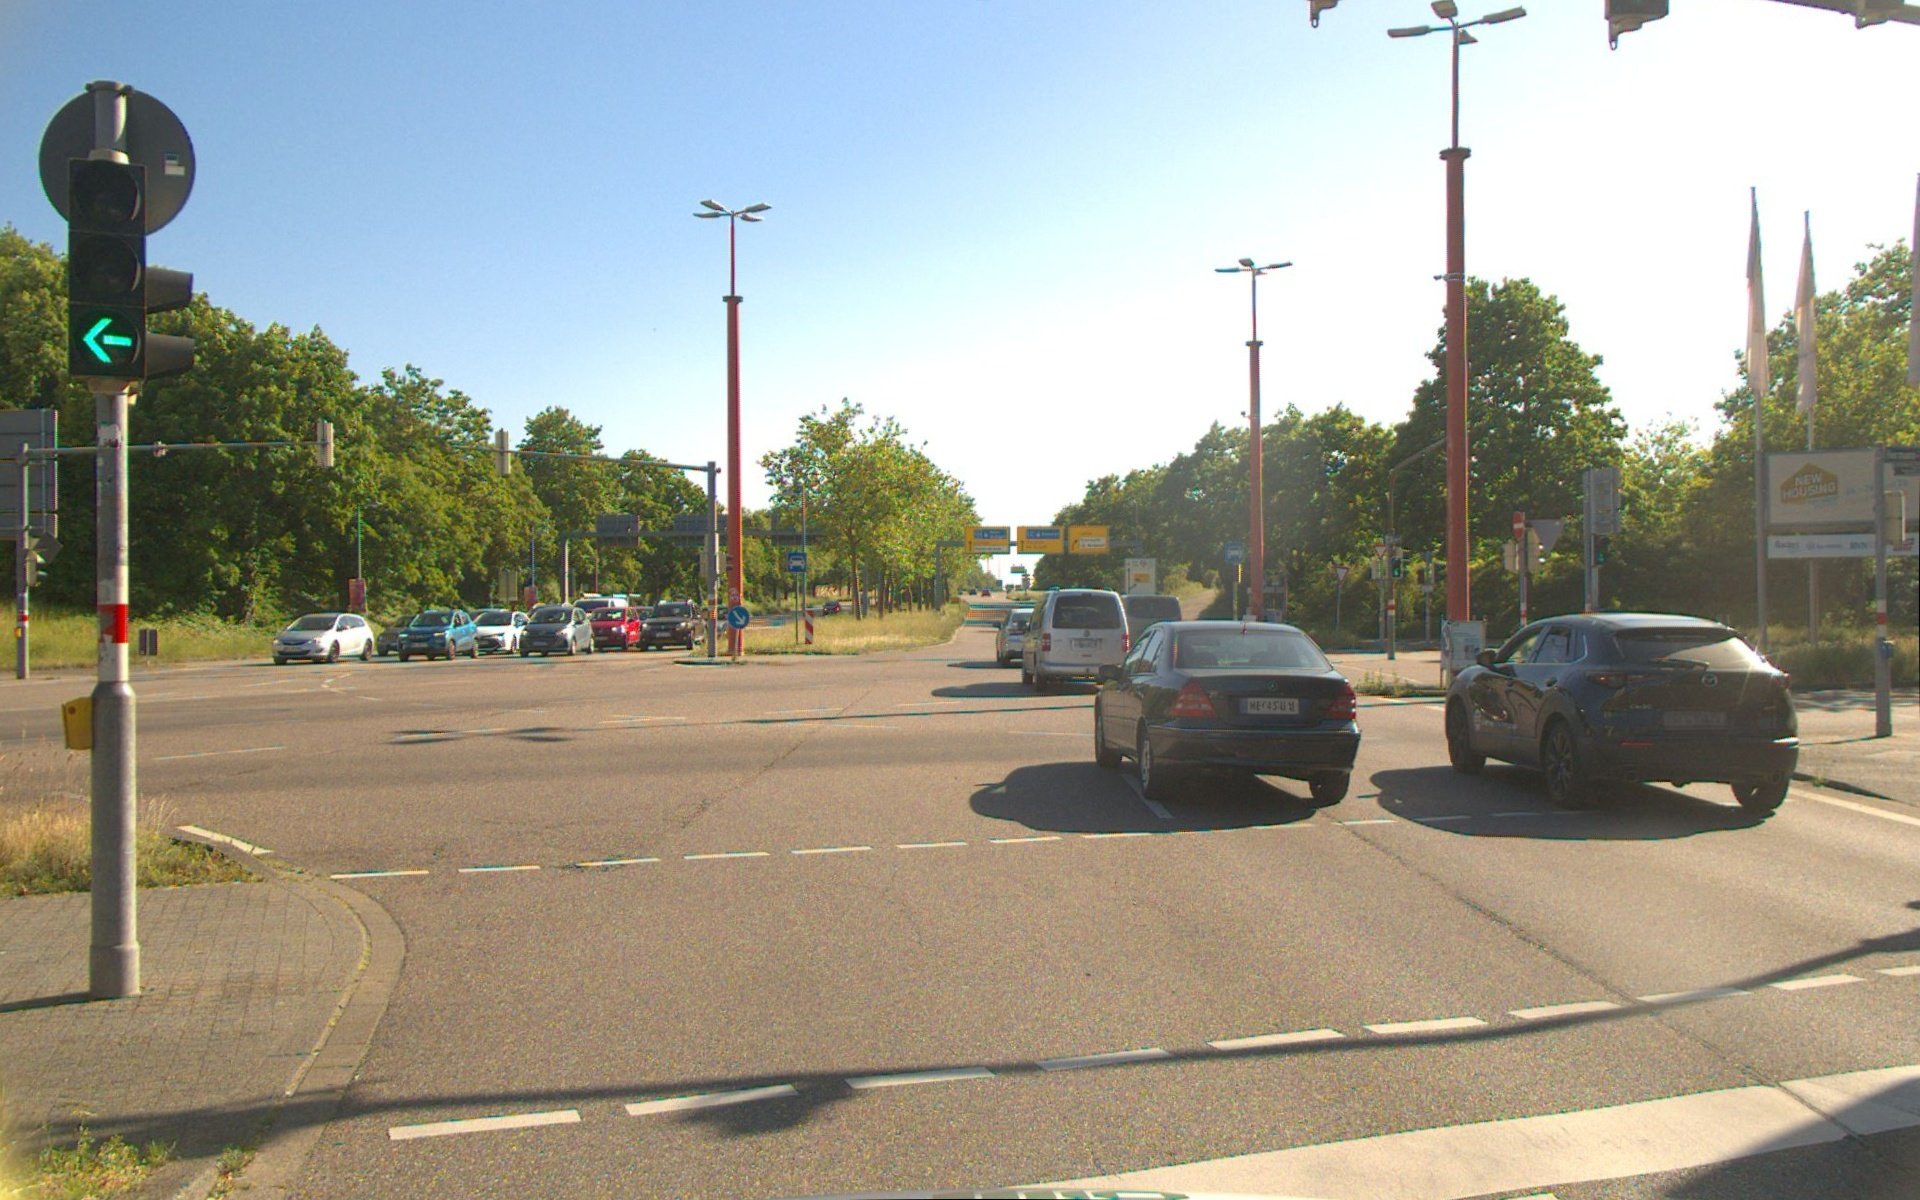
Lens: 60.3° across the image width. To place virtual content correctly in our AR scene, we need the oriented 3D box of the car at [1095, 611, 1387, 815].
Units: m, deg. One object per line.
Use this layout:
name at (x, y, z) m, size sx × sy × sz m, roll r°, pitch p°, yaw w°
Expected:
car at (2.283, 0.860, 14.504) m, size 1.678 × 1.479 × 4.196 m, roll -1°, pitch 0°, yaw -2°

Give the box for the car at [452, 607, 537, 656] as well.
car at (-15.957, 1.065, 56.870) m, size 1.863 × 1.582 × 3.998 m, roll -1°, pitch 0°, yaw -2°

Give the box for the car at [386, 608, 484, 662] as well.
car at (-16.039, 1.042, 50.718) m, size 1.764 × 1.542 × 3.858 m, roll -2°, pitch 0°, yaw 0°

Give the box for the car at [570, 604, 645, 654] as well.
car at (-12.369, 0.994, 58.267) m, size 1.837 × 1.579 × 3.998 m, roll -3°, pitch 0°, yaw -2°

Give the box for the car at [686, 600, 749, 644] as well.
car at (-9.264, 0.822, 63.529) m, size 1.847 × 1.570 × 3.999 m, roll -2°, pitch 0°, yaw -1°

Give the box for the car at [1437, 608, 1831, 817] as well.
car at (5.660, 0.868, 14.496) m, size 1.731 × 1.534 × 4.225 m, roll 1°, pitch -1°, yaw 0°

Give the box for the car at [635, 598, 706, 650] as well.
car at (-9.765, 0.781, 56.044) m, size 1.757 × 1.654 × 4.142 m, roll -2°, pitch 0°, yaw -2°

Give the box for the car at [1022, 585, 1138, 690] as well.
car at (2.207, 0.686, 31.506) m, size 1.768 × 1.853 × 4.585 m, roll 0°, pitch -1°, yaw -2°

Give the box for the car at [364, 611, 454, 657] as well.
car at (-19.809, 1.196, 59.642) m, size 1.846 × 1.539 × 4.000 m, roll -1°, pitch 0°, yaw 0°

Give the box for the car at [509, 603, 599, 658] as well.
car at (-12.703, 0.919, 51.925) m, size 1.836 × 1.577 × 4.027 m, roll -2°, pitch 0°, yaw -1°

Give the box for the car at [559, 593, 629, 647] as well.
car at (-15.523, 0.827, 70.430) m, size 1.921 × 2.193 × 5.080 m, roll -1°, pitch 0°, yaw -1°

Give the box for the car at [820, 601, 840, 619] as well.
car at (-13.733, 1.041, 175.149) m, size 1.876 × 1.878 × 3.960 m, roll 0°, pitch 0°, yaw 0°

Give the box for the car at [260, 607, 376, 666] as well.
car at (-19.478, 1.094, 50.389) m, size 1.838 × 1.681 × 4.218 m, roll -1°, pitch -1°, yaw 0°

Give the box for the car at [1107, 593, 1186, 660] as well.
car at (5.540, 0.771, 49.631) m, size 1.767 × 1.884 × 5.102 m, roll -1°, pitch 0°, yaw 0°

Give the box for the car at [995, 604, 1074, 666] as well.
car at (1.929, 0.909, 43.842) m, size 1.768 × 1.519 × 4.681 m, roll 1°, pitch -1°, yaw -1°
